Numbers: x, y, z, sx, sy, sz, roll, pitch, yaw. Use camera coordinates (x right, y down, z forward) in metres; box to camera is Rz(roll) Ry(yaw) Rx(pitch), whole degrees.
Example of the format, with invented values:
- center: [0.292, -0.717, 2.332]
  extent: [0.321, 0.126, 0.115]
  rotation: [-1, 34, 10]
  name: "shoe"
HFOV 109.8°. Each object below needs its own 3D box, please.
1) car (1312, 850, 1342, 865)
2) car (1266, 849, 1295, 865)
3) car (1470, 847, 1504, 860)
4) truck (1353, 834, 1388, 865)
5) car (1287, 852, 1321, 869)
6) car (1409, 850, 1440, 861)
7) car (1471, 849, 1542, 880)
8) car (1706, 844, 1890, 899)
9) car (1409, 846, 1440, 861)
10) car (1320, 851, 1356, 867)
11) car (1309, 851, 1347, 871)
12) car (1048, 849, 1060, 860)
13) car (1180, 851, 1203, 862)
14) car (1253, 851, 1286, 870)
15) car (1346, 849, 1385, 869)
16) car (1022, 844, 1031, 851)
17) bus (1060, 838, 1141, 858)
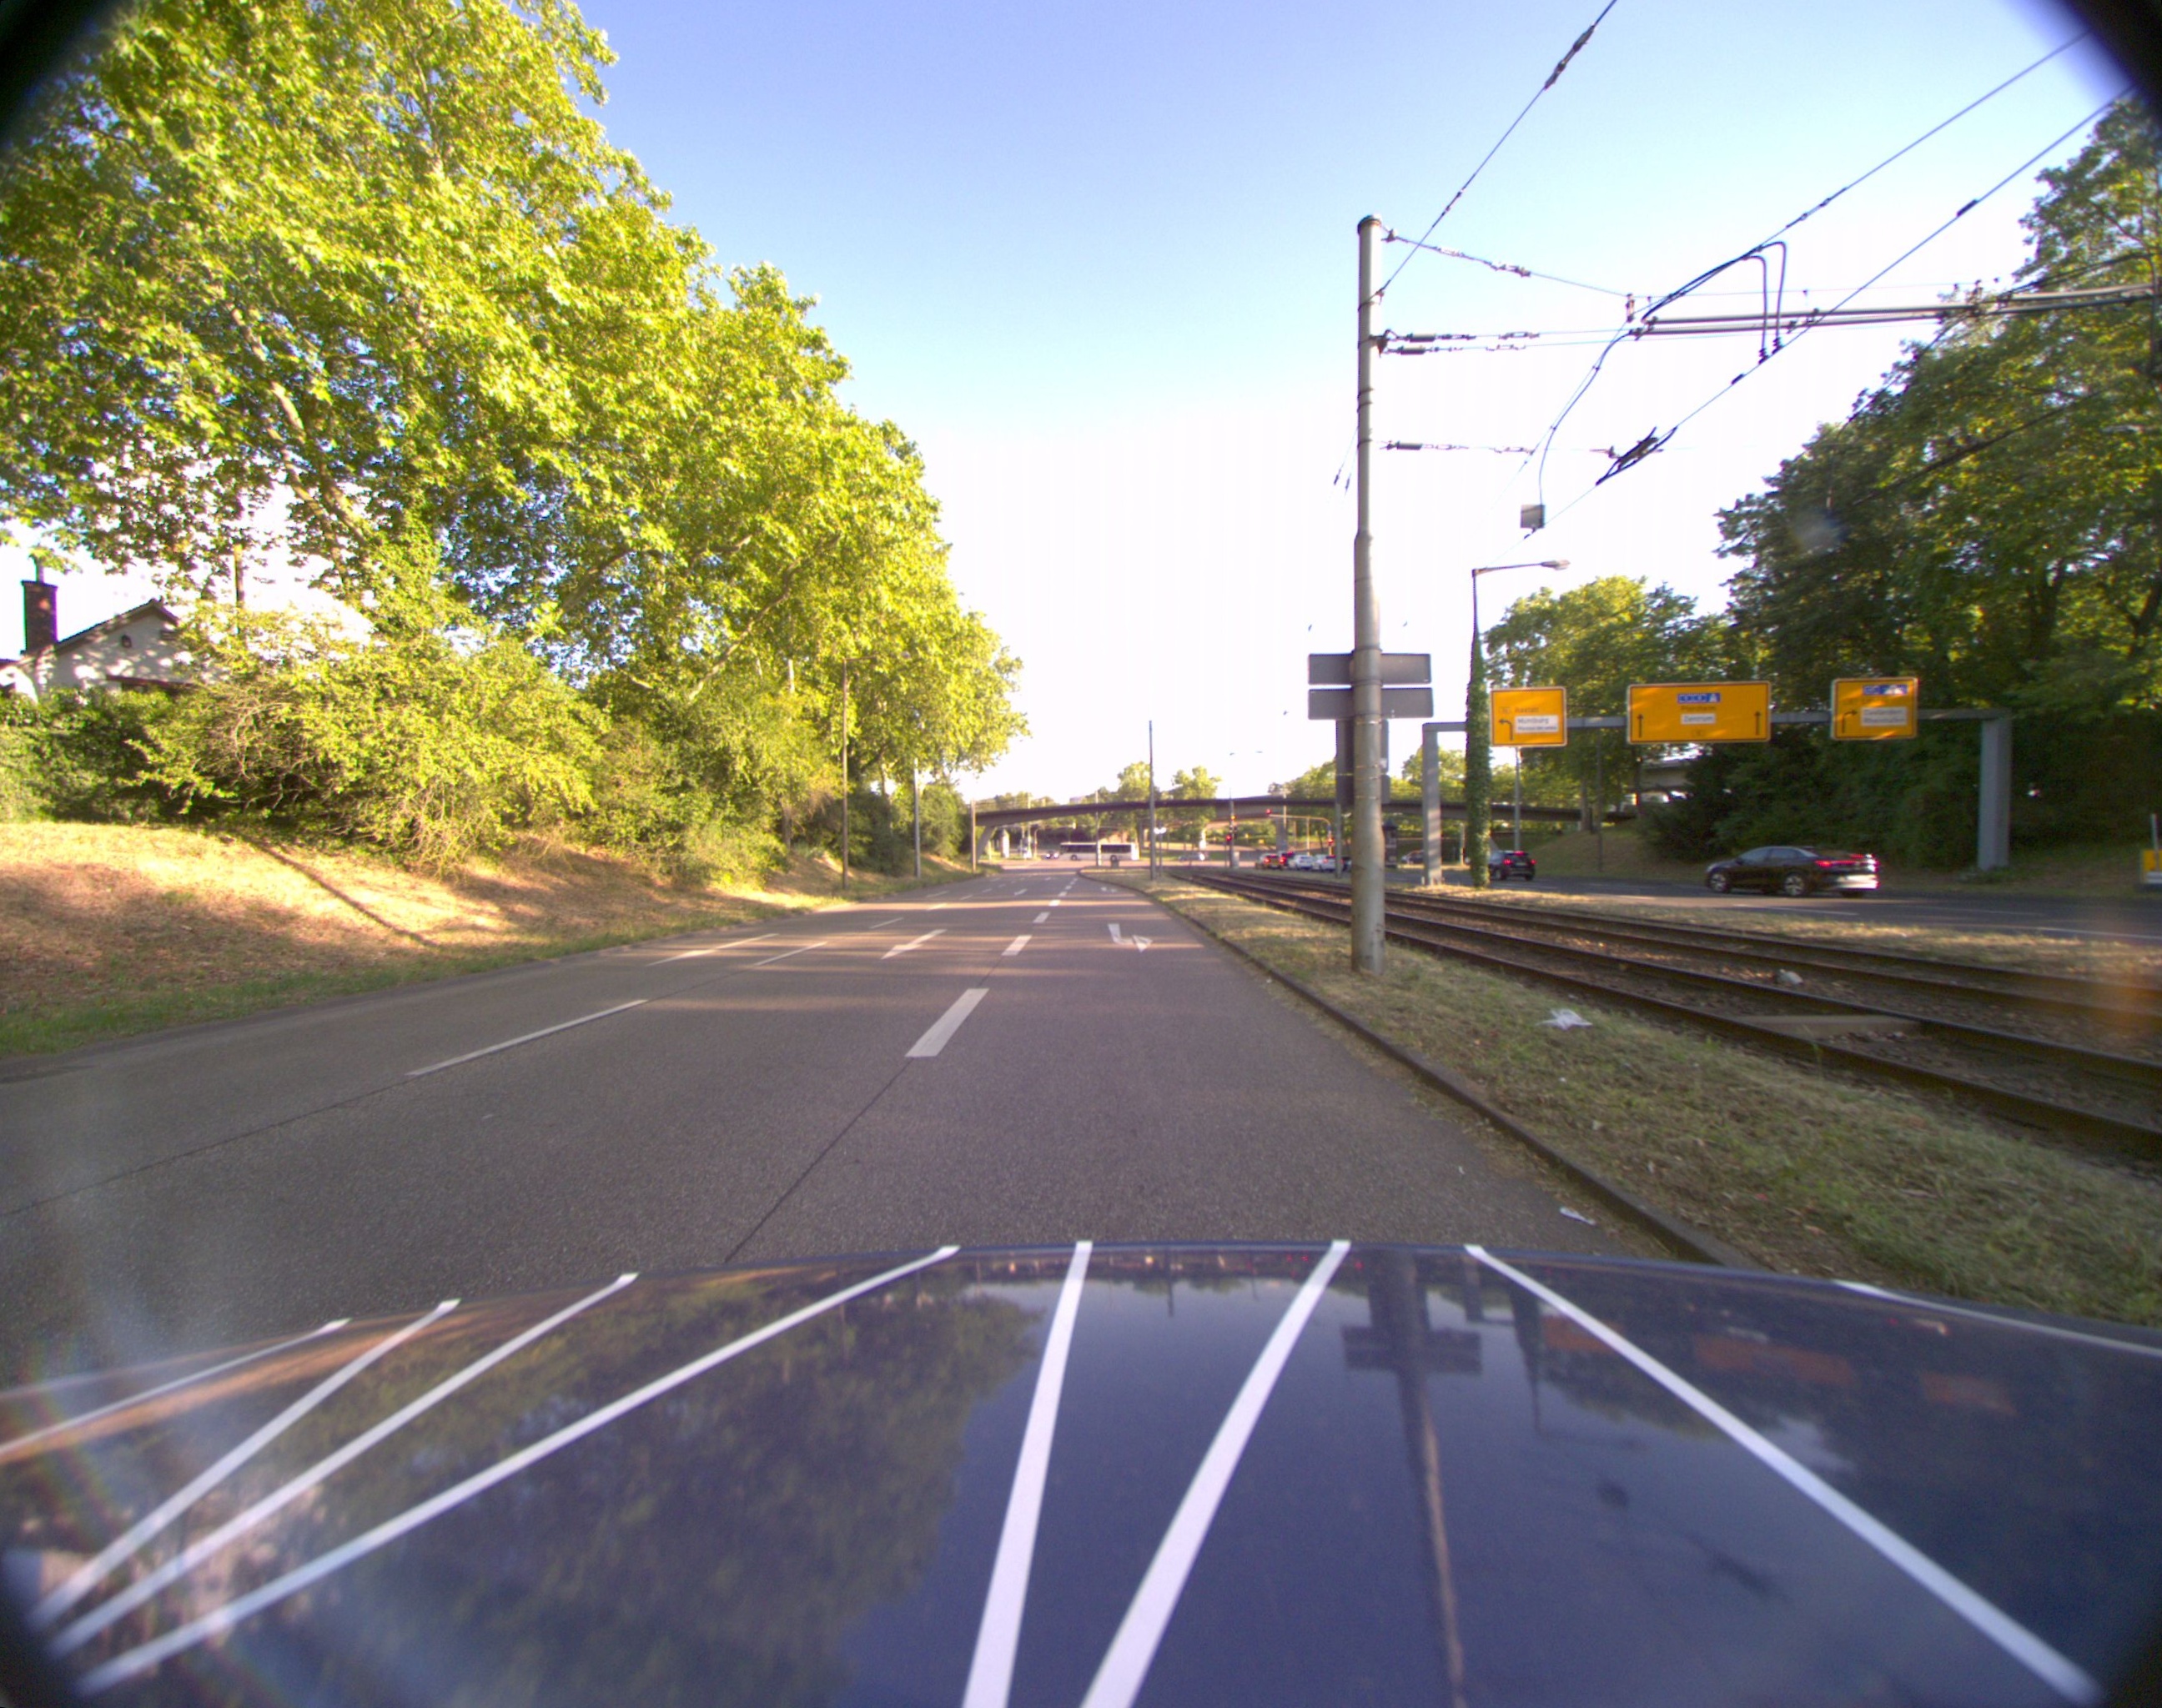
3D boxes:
- center: [24.948, 0.368, 77.148]
  extent: [1.917, 1.416, 4.228]
  rotation: [-1, 0, 5]
  name: "car"
- center: [19.581, 0.260, 74.722]
  extent: [1.917, 1.540, 4.227]
  rotation: [-1, 0, 4]
  name: "car"
- center: [53.999, -0.089, 101.073]
  extent: [3.804, 1.570, 1.679]
  rotation: [-2, 1, 24]
  name: "car"
- center: [28.382, -0.442, 74.780]
  extent: [2.281, 2.862, 6.886]
  rotation: [-1, 0, 13]
  name: "truck"
- center: [19.915, 0.540, 68.064]
  extent: [1.918, 1.416, 4.227]
  rotation: [-1, 0, 2]
  name: "car"
- center: [48.703, 0.152, 107.701]
  extent: [3.868, 1.403, 1.814]
  rotation: [-2, 1, 20]
  name: "car"
- center: [22.587, 0.518, 40.483]
  extent: [1.755, 1.548, 3.974]
  rotation: [0, 0, 4]
  name: "car"
- center: [22.180, 0.487, 23.787]
  extent: [1.735, 1.536, 4.334]
  rotation: [-1, 0, 1]
  name: "car"
- center: [47.016, -0.033, 104.033]
  extent: [3.805, 1.848, 1.679]
  rotation: [-2, 1, 20]
  name: "car"
- center: [23.737, 0.458, 70.189]
  extent: [1.868, 1.416, 4.226]
  rotation: [-1, 0, 0]
  name: "car"
- center: [20.026, 0.538, 61.786]
  extent: [1.767, 1.535, 4.000]
  rotation: [-1, 0, 0]
  name: "car"
- center: [-4.899, 0.068, 139.184]
  extent: [1.960, 1.779, 3.998]
  rotation: [-2, 0, -5]
  name: "car"
- center: [17.462, 0.395, 120.008]
  extent: [3.364, 1.560, 1.613]
  rotation: [-2, 0, 17]
  name: "car"
- center: [16.147, 0.502, 65.216]
  extent: [1.767, 1.535, 4.000]
  rotation: [-1, 0, 0]
  name: "car"
- center: [23.965, 0.393, 64.052]
  extent: [1.813, 1.535, 4.000]
  rotation: [-1, 0, 1]
  name: "car"
- center: [-13.812, -1.703, 192.303]
  extent: [1.684, 1.779, 3.867]
  rotation: [-2, 0, -11]
  name: "car"
- center: [3.168, -0.942, 125.446]
  extent: [13.163, 2.846, 2.420]
  rotation: [-2, 1, 22]
  name: "bus"
